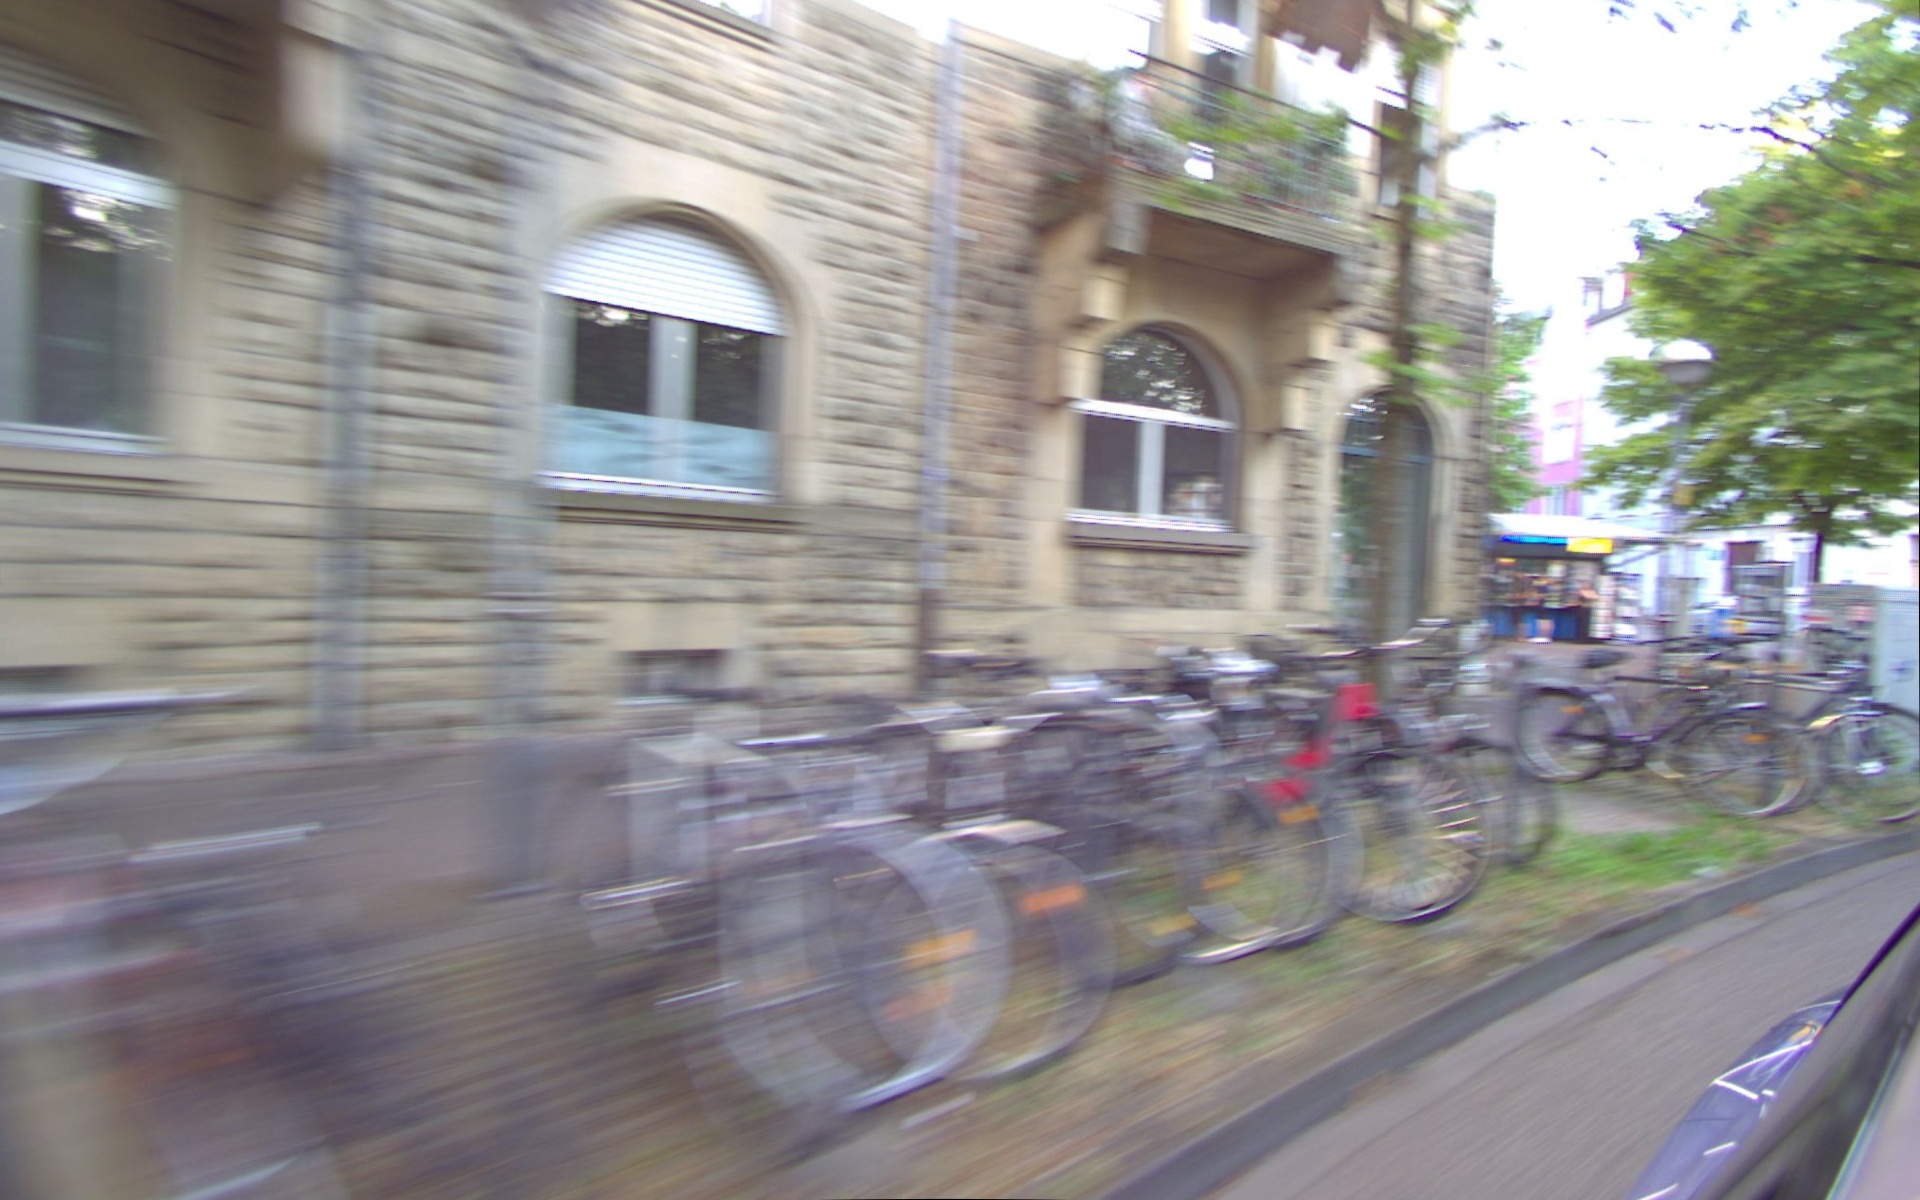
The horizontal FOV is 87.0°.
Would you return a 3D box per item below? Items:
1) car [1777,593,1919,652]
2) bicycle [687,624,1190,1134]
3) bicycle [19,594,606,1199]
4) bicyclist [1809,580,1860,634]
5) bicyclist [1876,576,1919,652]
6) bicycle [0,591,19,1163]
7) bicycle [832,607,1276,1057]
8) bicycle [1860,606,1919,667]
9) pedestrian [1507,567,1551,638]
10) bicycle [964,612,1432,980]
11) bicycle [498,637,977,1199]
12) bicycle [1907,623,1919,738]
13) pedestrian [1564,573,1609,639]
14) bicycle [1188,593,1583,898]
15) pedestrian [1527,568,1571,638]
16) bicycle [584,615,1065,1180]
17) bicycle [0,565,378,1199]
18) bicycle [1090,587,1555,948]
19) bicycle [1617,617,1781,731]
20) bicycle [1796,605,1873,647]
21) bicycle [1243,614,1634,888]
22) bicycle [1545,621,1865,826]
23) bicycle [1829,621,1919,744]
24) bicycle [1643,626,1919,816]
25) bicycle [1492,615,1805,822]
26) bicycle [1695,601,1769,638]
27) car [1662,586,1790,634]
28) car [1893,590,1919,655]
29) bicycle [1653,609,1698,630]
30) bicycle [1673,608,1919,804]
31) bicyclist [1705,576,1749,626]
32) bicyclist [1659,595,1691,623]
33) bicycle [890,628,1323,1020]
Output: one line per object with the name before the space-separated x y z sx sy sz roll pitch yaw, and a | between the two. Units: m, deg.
car | 27.867 0.624 30.970 1.810 1.544 4.802 0 2 1
bicycle | -0.212 0.689 3.315 0.526 1.074 1.919 1 3 -40
bicycle | -1.357 0.627 2.037 0.414 1.098 1.853 -23 18 -38
bicyclist | 26.093 0.195 30.199 0.666 1.564 0.875 2 2 0
bicyclist | 19.698 0.288 20.933 0.676 1.531 0.969 2 1 14
bicycle | -1.875 0.610 1.663 0.411 1.158 1.853 1 3 -41
bicycle | 0.202 0.649 3.652 0.411 1.130 1.855 1 3 -37
bicycle | 19.660 0.751 20.874 0.676 1.165 2.106 2 2 13
pedestrian | 13.784 0.052 24.529 0.666 1.657 0.591 2 2 2
bicycle | 0.857 0.651 4.212 0.543 1.078 1.919 1 3 -40
bicycle | -0.743 0.688 2.762 0.411 1.012 1.853 1 3 -41
bicycle | 9.280 0.791 8.705 0.423 1.052 1.612 2 2 -18
pedestrian | 15.186 0.148 24.542 0.664 1.558 0.592 2 2 -27
bicycle | 2.017 0.607 5.068 0.439 1.182 1.796 1 3 -37
pedestrian | 14.358 0.065 24.686 0.664 1.657 0.592 2 2 -27
bicycle | -0.533 0.641 2.958 0.411 1.064 1.853 1 3 -41
bicycle | -1.561 0.577 1.835 0.414 1.137 1.853 -23 18 -38
bicycle | 1.500 0.600 4.560 0.543 1.214 1.919 1 3 -40
bicycle | 7.002 0.682 9.572 1.691 0.981 0.433 1 2 -25
bicycle | 26.072 0.765 30.207 0.672 1.108 1.809 2 2 0
bicycle | 2.371 0.672 5.258 0.439 1.076 1.796 1 3 -37
bicycle | 4.815 0.734 6.661 0.411 1.076 1.609 1 2 -34
bicycle | 8.849 0.777 8.852 0.423 1.052 1.904 2 2 -18
bicycle | 5.700 0.756 6.898 0.544 1.033 1.610 1 2 -30
bicycle | 4.406 0.695 6.607 0.411 1.089 1.609 1 2 -34
bicycle | 25.942 0.636 34.060 0.715 1.108 2.051 2 2 -5
car | 28.166 0.313 37.406 1.773 1.612 4.141 0 2 4
car | 24.133 0.658 22.701 1.963 1.535 4.839 2 2 2
bicycle | 26.586 0.718 37.616 0.640 0.650 1.463 2 2 2
bicycle | 6.075 0.690 7.118 0.544 1.162 1.610 1 2 -30
bicyclist | 25.943 0.025 34.255 0.712 1.603 0.876 2 2 -6
bicyclist | 26.599 0.316 37.659 0.636 0.989 0.730 2 2 2
bicycle | 0.426 0.694 3.882 0.411 1.026 1.855 1 3 -37
